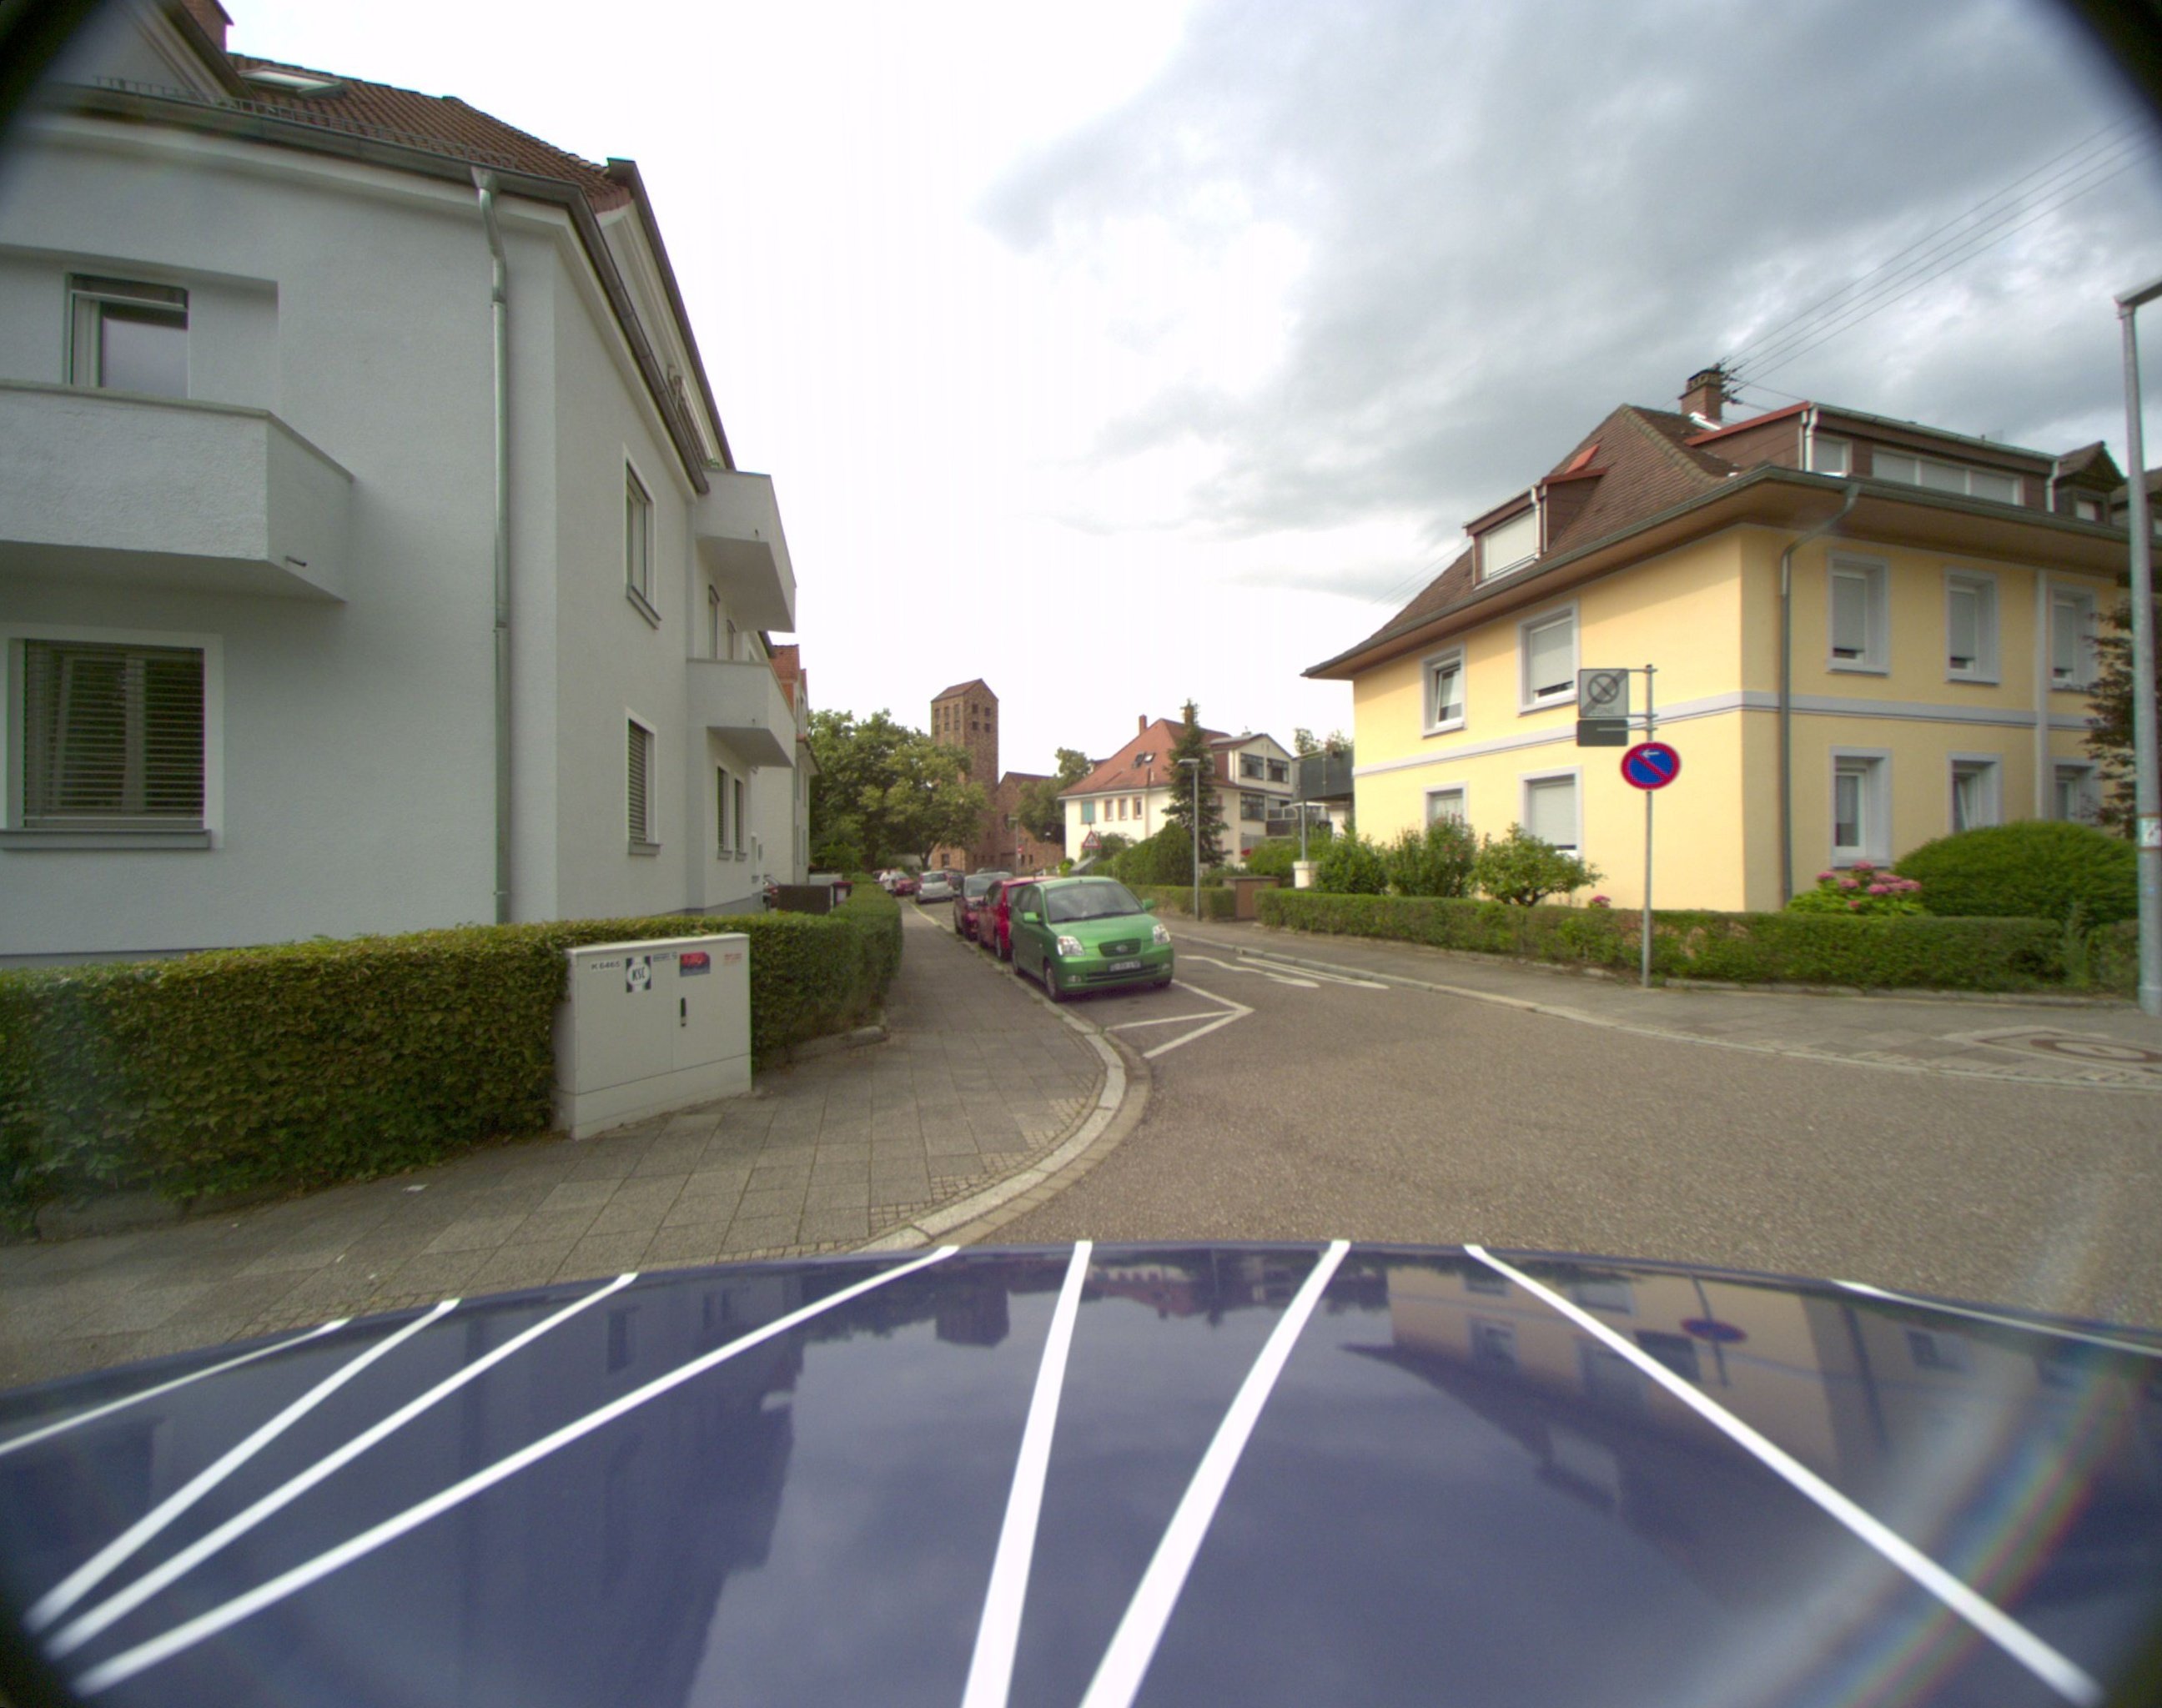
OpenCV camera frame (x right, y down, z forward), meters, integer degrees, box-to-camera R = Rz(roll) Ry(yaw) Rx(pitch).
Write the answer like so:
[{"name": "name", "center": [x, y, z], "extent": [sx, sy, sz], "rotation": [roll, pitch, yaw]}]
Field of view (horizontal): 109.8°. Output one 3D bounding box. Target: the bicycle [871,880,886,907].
[{"name": "bicycle", "center": [-8.819, 1.687, 33.044], "extent": [0.423, 1.097, 2.112], "rotation": [0, 0, -20]}]

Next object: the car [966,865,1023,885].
[{"name": "car", "center": [-6.738, 1.609, 59.330], "extent": [4.230, 1.456, 1.681], "rotation": [0, 1, -16]}]

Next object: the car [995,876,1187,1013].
[{"name": "car", "center": [-0.039, 1.093, 10.629], "extent": [1.652, 1.413, 3.477], "rotation": [-4, 0, -16]}]

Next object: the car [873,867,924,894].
[{"name": "car", "center": [-10.971, 1.587, 45.527], "extent": [1.654, 1.487, 3.473], "rotation": [-4, 1, -37]}]

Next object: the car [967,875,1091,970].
[{"name": "car", "center": [-1.145, 1.249, 15.094], "extent": [1.652, 1.487, 3.477], "rotation": [-4, 0, -16]}]

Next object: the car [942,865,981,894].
[{"name": "car", "center": [-7.466, 1.548, 47.123], "extent": [1.855, 1.472, 4.036], "rotation": [-7, 1, -15]}]

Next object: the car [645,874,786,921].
[{"name": "car", "center": [-12.237, 1.428, 25.741], "extent": [4.002, 1.455, 1.998], "rotation": [0, 0, -15]}]

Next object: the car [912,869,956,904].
[{"name": "car", "center": [-7.201, 1.521, 37.016], "extent": [1.652, 1.487, 3.477], "rotation": [-4, 0, -16]}]

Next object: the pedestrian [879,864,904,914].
[{"name": "pedestrian", "center": [-7.308, 1.329, 29.258], "extent": [0.884, 1.867, 1.077], "rotation": [-1, 0, -15]}]

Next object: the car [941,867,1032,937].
[{"name": "car", "center": [-2.470, 1.124, 19.222], "extent": [1.652, 1.487, 3.477], "rotation": [-4, 0, -16]}]
